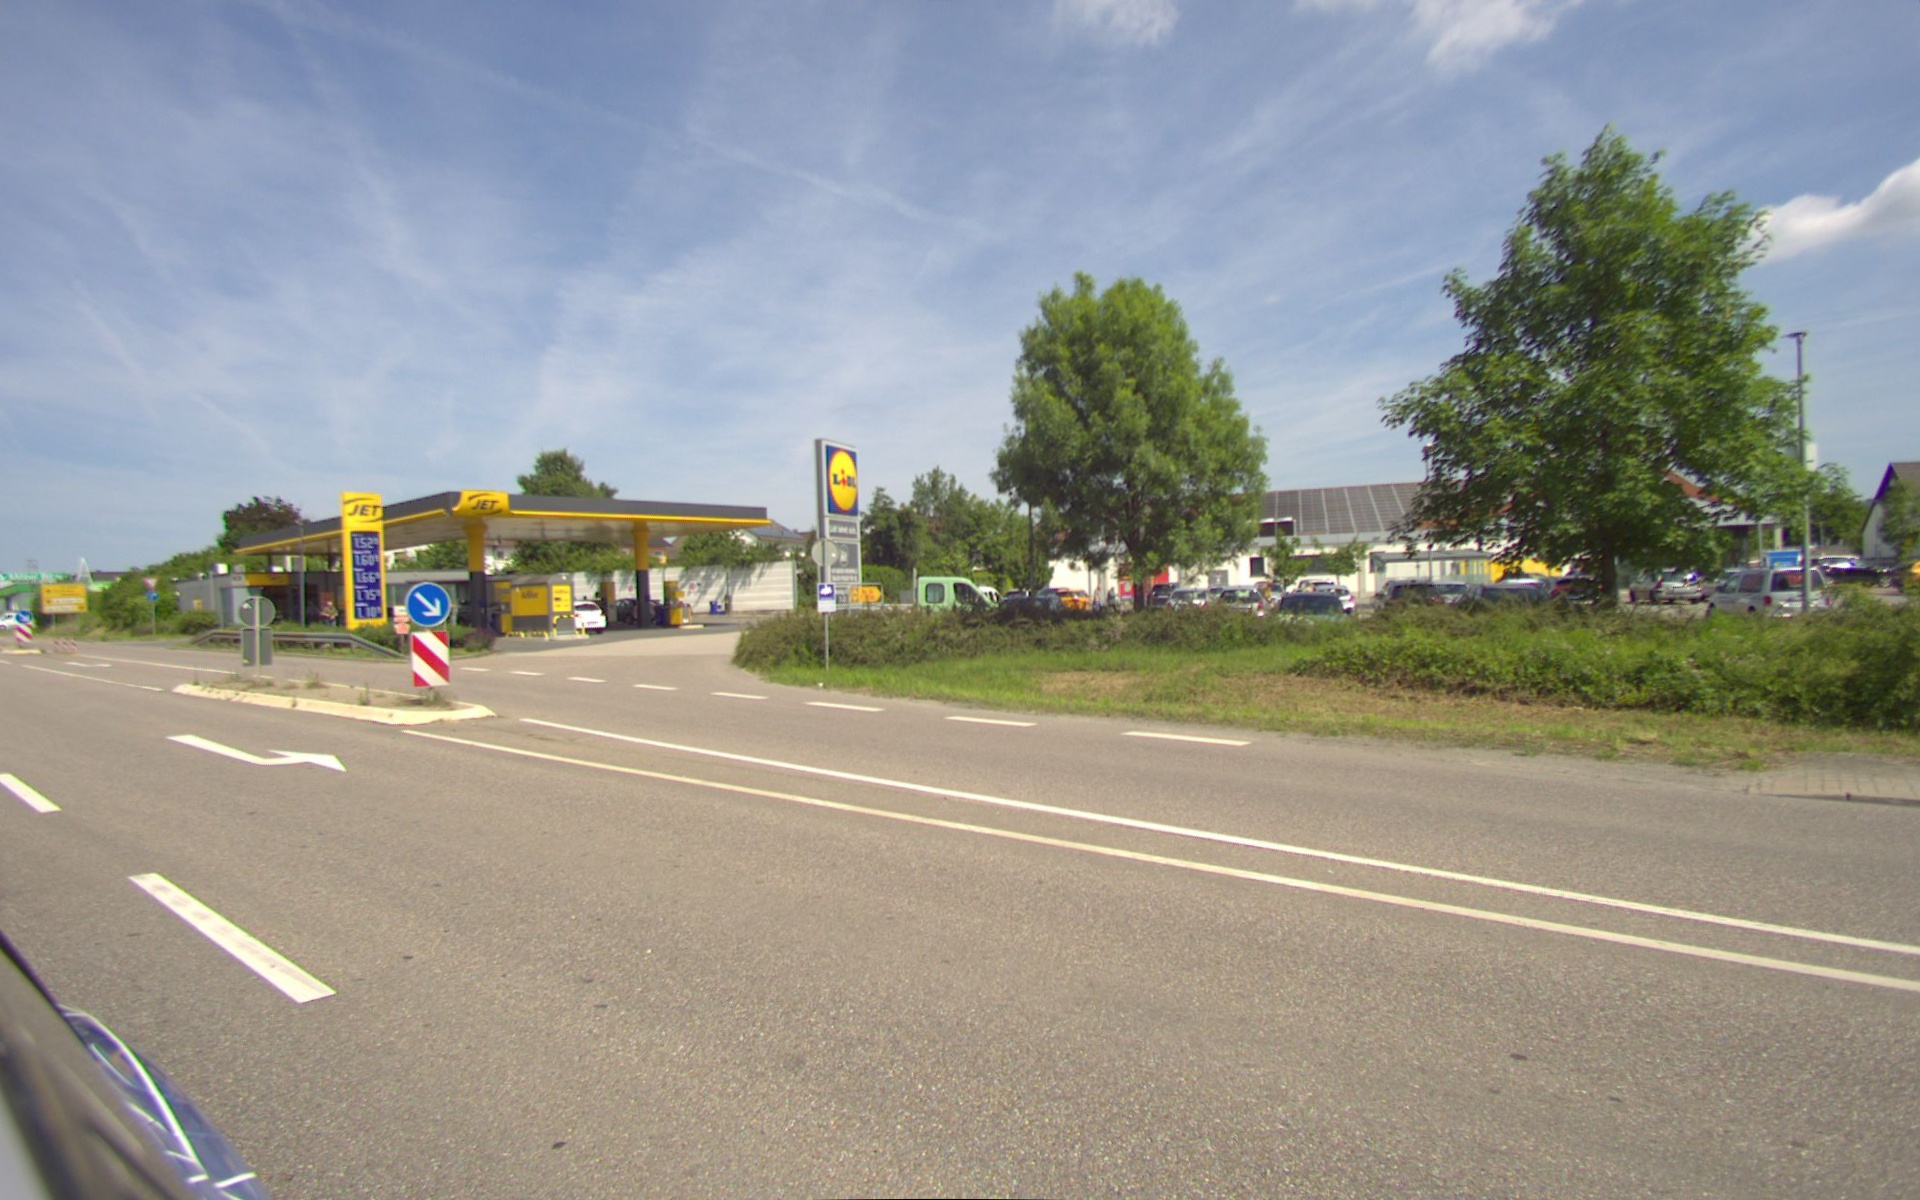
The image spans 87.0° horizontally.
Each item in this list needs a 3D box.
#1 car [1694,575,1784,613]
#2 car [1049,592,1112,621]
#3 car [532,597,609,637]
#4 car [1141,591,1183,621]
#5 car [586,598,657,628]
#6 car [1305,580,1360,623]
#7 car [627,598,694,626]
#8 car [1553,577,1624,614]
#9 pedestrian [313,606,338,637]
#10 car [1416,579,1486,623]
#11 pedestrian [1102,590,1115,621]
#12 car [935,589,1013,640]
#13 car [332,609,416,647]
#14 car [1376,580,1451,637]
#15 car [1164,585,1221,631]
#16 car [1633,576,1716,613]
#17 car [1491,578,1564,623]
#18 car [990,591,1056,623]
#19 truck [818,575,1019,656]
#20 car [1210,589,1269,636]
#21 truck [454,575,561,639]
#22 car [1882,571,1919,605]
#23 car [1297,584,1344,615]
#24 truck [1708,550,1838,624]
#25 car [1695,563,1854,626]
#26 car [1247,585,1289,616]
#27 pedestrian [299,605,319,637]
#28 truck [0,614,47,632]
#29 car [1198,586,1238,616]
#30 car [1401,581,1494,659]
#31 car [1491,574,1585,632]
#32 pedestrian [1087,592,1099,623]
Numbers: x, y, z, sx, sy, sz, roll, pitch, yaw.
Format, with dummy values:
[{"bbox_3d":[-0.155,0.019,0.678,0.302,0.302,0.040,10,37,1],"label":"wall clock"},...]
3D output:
[{"bbox_3d":[33.922,-0.249,44.216,1.865,1.553,4.231,-1,0,20],"label":"car"},{"bbox_3d":[6.521,0.329,54.314,1.879,1.453,3.958,-1,1,31],"label":"car"},{"bbox_3d":[-17.759,0.828,46.078,4.001,1.741,1.713,-2,-3,44],"label":"car"},{"bbox_3d":[10.475,0.275,52.290,1.868,1.453,3.981,-1,1,15],"label":"car"},{"bbox_3d":[-19.316,0.738,57.769,3.862,1.625,1.735,-2,-1,31],"label":"car"},{"bbox_3d":[14.279,0.058,38.937,1.764,1.540,3.977,-1,0,17],"label":"car"},{"bbox_3d":[-18.518,0.766,62.571,3.860,1.625,1.736,-2,-1,29],"label":"car"},{"bbox_3d":[28.473,-0.201,45.992,1.865,1.553,4.231,-1,0,20],"label":"car"},{"bbox_3d":[-30.293,1.005,48.314,0.902,1.438,0.494,0,0,-44],"label":"pedestrian"},{"bbox_3d":[18.336,0.022,37.932,1.764,1.540,3.977,-1,0,17],"label":"car"},{"bbox_3d":[7.477,0.289,50.835,0.503,1.564,0.513,-1,0,24],"label":"pedestrian"},{"bbox_3d":[0.598,0.521,38.723,1.865,1.825,4.145,-1,0,17],"label":"car"},{"bbox_3d":[-27.717,1.305,47.831,4.258,1.719,1.975,-2,-1,38],"label":"car"},{"bbox_3d":[14.671,0.237,32.938,1.898,1.687,3.974,-1,1,20],"label":"car"},{"bbox_3d":[9.344,0.272,40.481,1.850,1.688,4.399,-1,0,17],"label":"car"},{"bbox_3d":[31.507,-0.245,44.760,1.865,1.553,4.231,-1,0,20],"label":"car"},{"bbox_3d":[20.592,0.002,36.857,1.767,1.540,3.972,-1,0,21],"label":"car"},{"bbox_3d":[3.429,0.354,54.504,1.765,1.551,3.956,-3,0,33],"label":"car"},{"bbox_3d":[-1.376,0.489,32.954,6.255,2.393,2.251,-1,-1,-4],"label":"truck"},{"bbox_3d":[9.889,0.397,35.598,1.769,1.513,4.122,-1,1,18],"label":"car"},{"bbox_3d":[-22.101,0.316,49.318,6.278,2.944,2.222,0,0,40],"label":"truck"},{"bbox_3d":[45.130,-0.568,46.087,4.223,1.553,1.869,-1,0,18],"label":"car"},{"bbox_3d":[17.964,-0.066,50.568,1.868,1.453,3.981,-1,1,15],"label":"car"},{"bbox_3d":[27.878,-0.434,34.888,1.981,2.383,3.982,-1,0,14],"label":"truck"},{"bbox_3d":[24.224,-0.136,30.327,1.981,1.708,4.408,-1,0,14],"label":"car"},{"bbox_3d":[15.557,-0.010,51.263,1.868,1.453,3.981,-1,1,15],"label":"car"},{"bbox_3d":[-37.693,1.203,58.586,0.639,1.852,0.788,-2,0,41],"label":"pedestrian"},{"bbox_3d":[-112.539,2.756,121.051,1.997,2.024,4.714,-1,0,38],"label":"truck"},{"bbox_3d":[13.320,0.018,52.231,1.868,1.453,3.981,-1,1,15],"label":"car"},{"bbox_3d":[11.427,0.423,23.944,1.683,1.670,3.971,-1,0,22],"label":"car"},{"bbox_3d":[18.216,0.081,32.056,1.912,1.701,3.973,-1,0,20],"label":"car"},{"bbox_3d":[6.653,0.367,50.721,0.501,1.564,0.514,-1,0,16],"label":"pedestrian"}]
